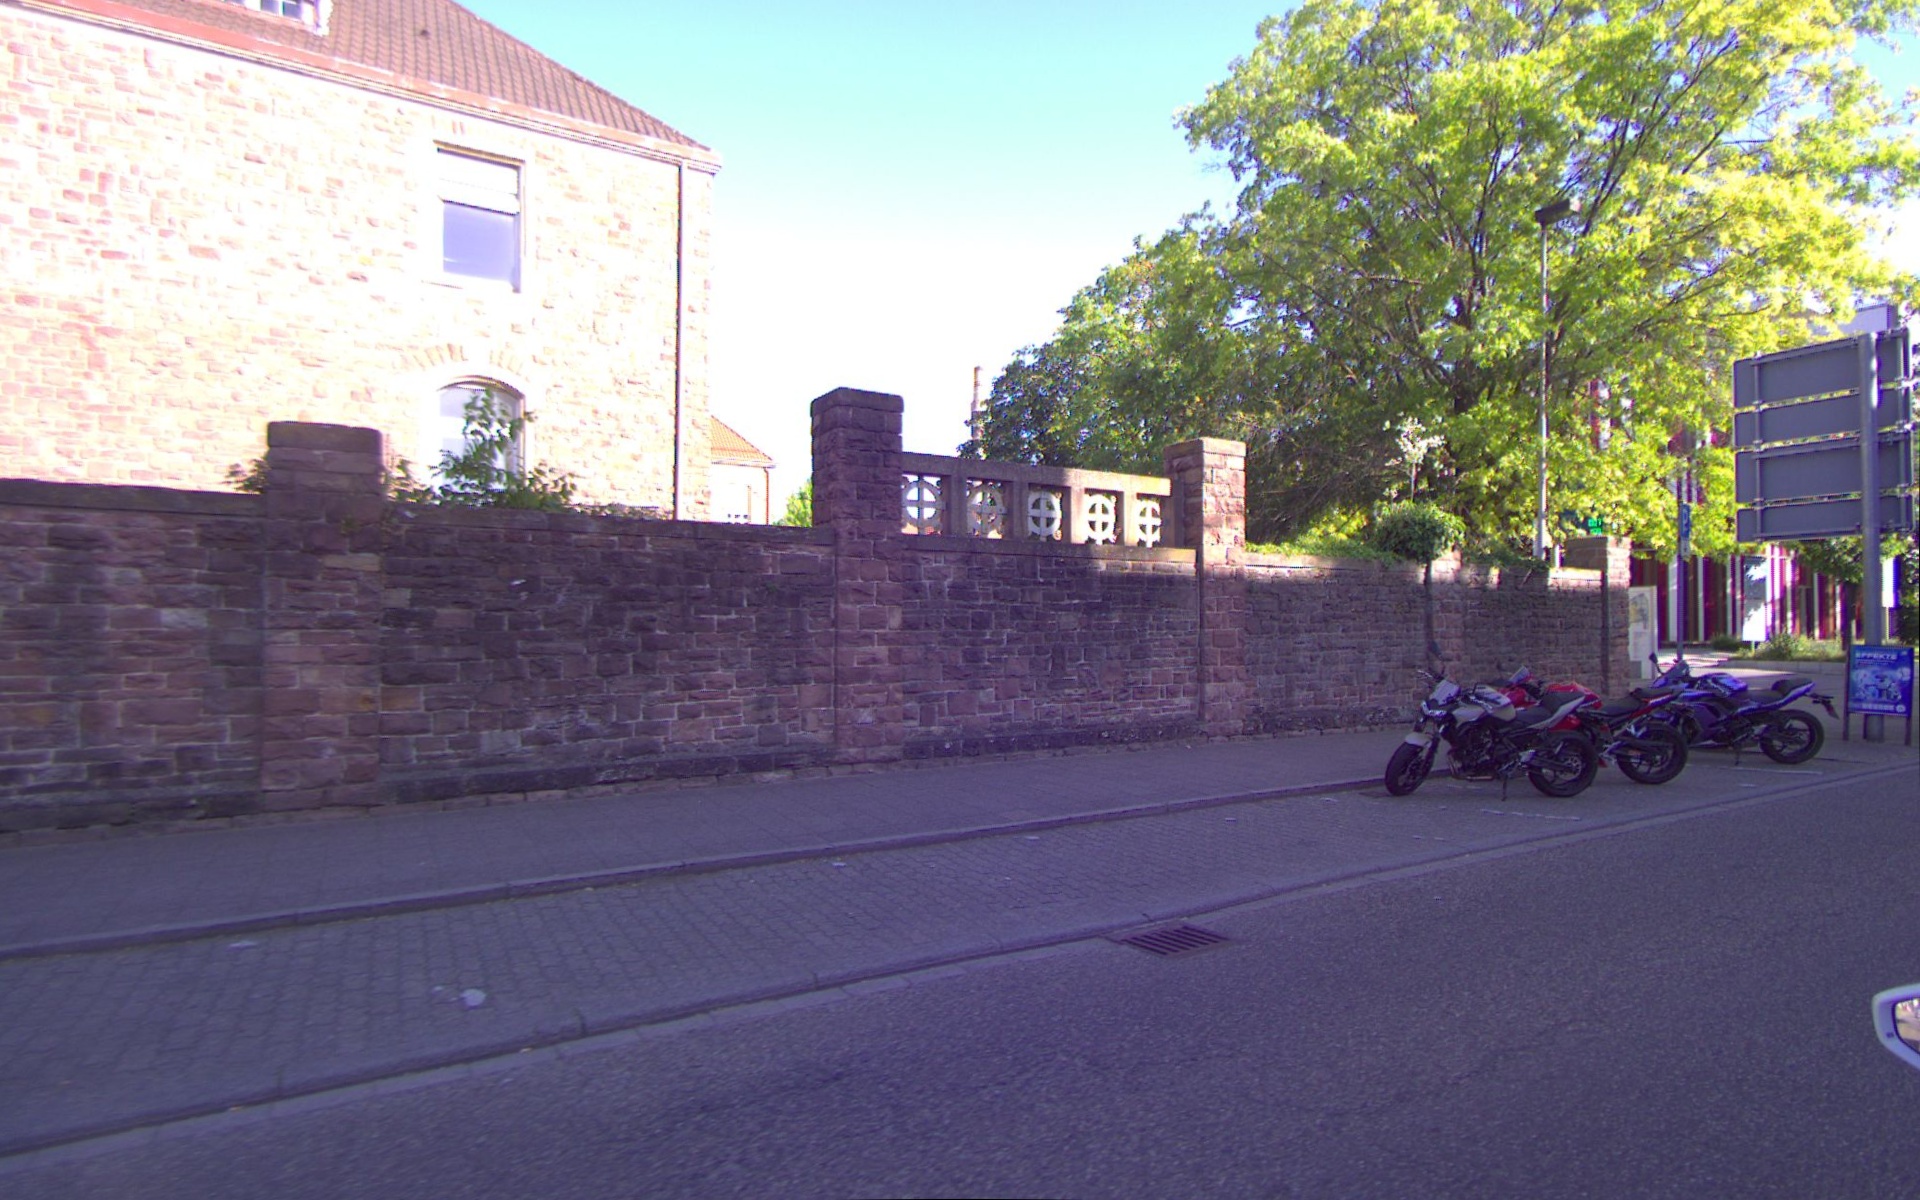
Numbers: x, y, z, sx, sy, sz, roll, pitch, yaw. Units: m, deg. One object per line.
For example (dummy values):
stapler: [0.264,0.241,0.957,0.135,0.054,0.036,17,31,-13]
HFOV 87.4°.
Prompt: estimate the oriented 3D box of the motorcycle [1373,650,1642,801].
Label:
motorcycle: [4.889,1.107,9.057,2.079,1.292,0.578,0,-1,3]

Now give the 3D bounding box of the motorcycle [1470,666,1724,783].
motorcycle: [6.212,1.204,9.862,2.079,1.089,0.578,0,-1,3]

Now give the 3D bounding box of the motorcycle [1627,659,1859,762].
motorcycle: [8.730,1.220,11.249,2.079,1.089,0.578,0,-1,3]
